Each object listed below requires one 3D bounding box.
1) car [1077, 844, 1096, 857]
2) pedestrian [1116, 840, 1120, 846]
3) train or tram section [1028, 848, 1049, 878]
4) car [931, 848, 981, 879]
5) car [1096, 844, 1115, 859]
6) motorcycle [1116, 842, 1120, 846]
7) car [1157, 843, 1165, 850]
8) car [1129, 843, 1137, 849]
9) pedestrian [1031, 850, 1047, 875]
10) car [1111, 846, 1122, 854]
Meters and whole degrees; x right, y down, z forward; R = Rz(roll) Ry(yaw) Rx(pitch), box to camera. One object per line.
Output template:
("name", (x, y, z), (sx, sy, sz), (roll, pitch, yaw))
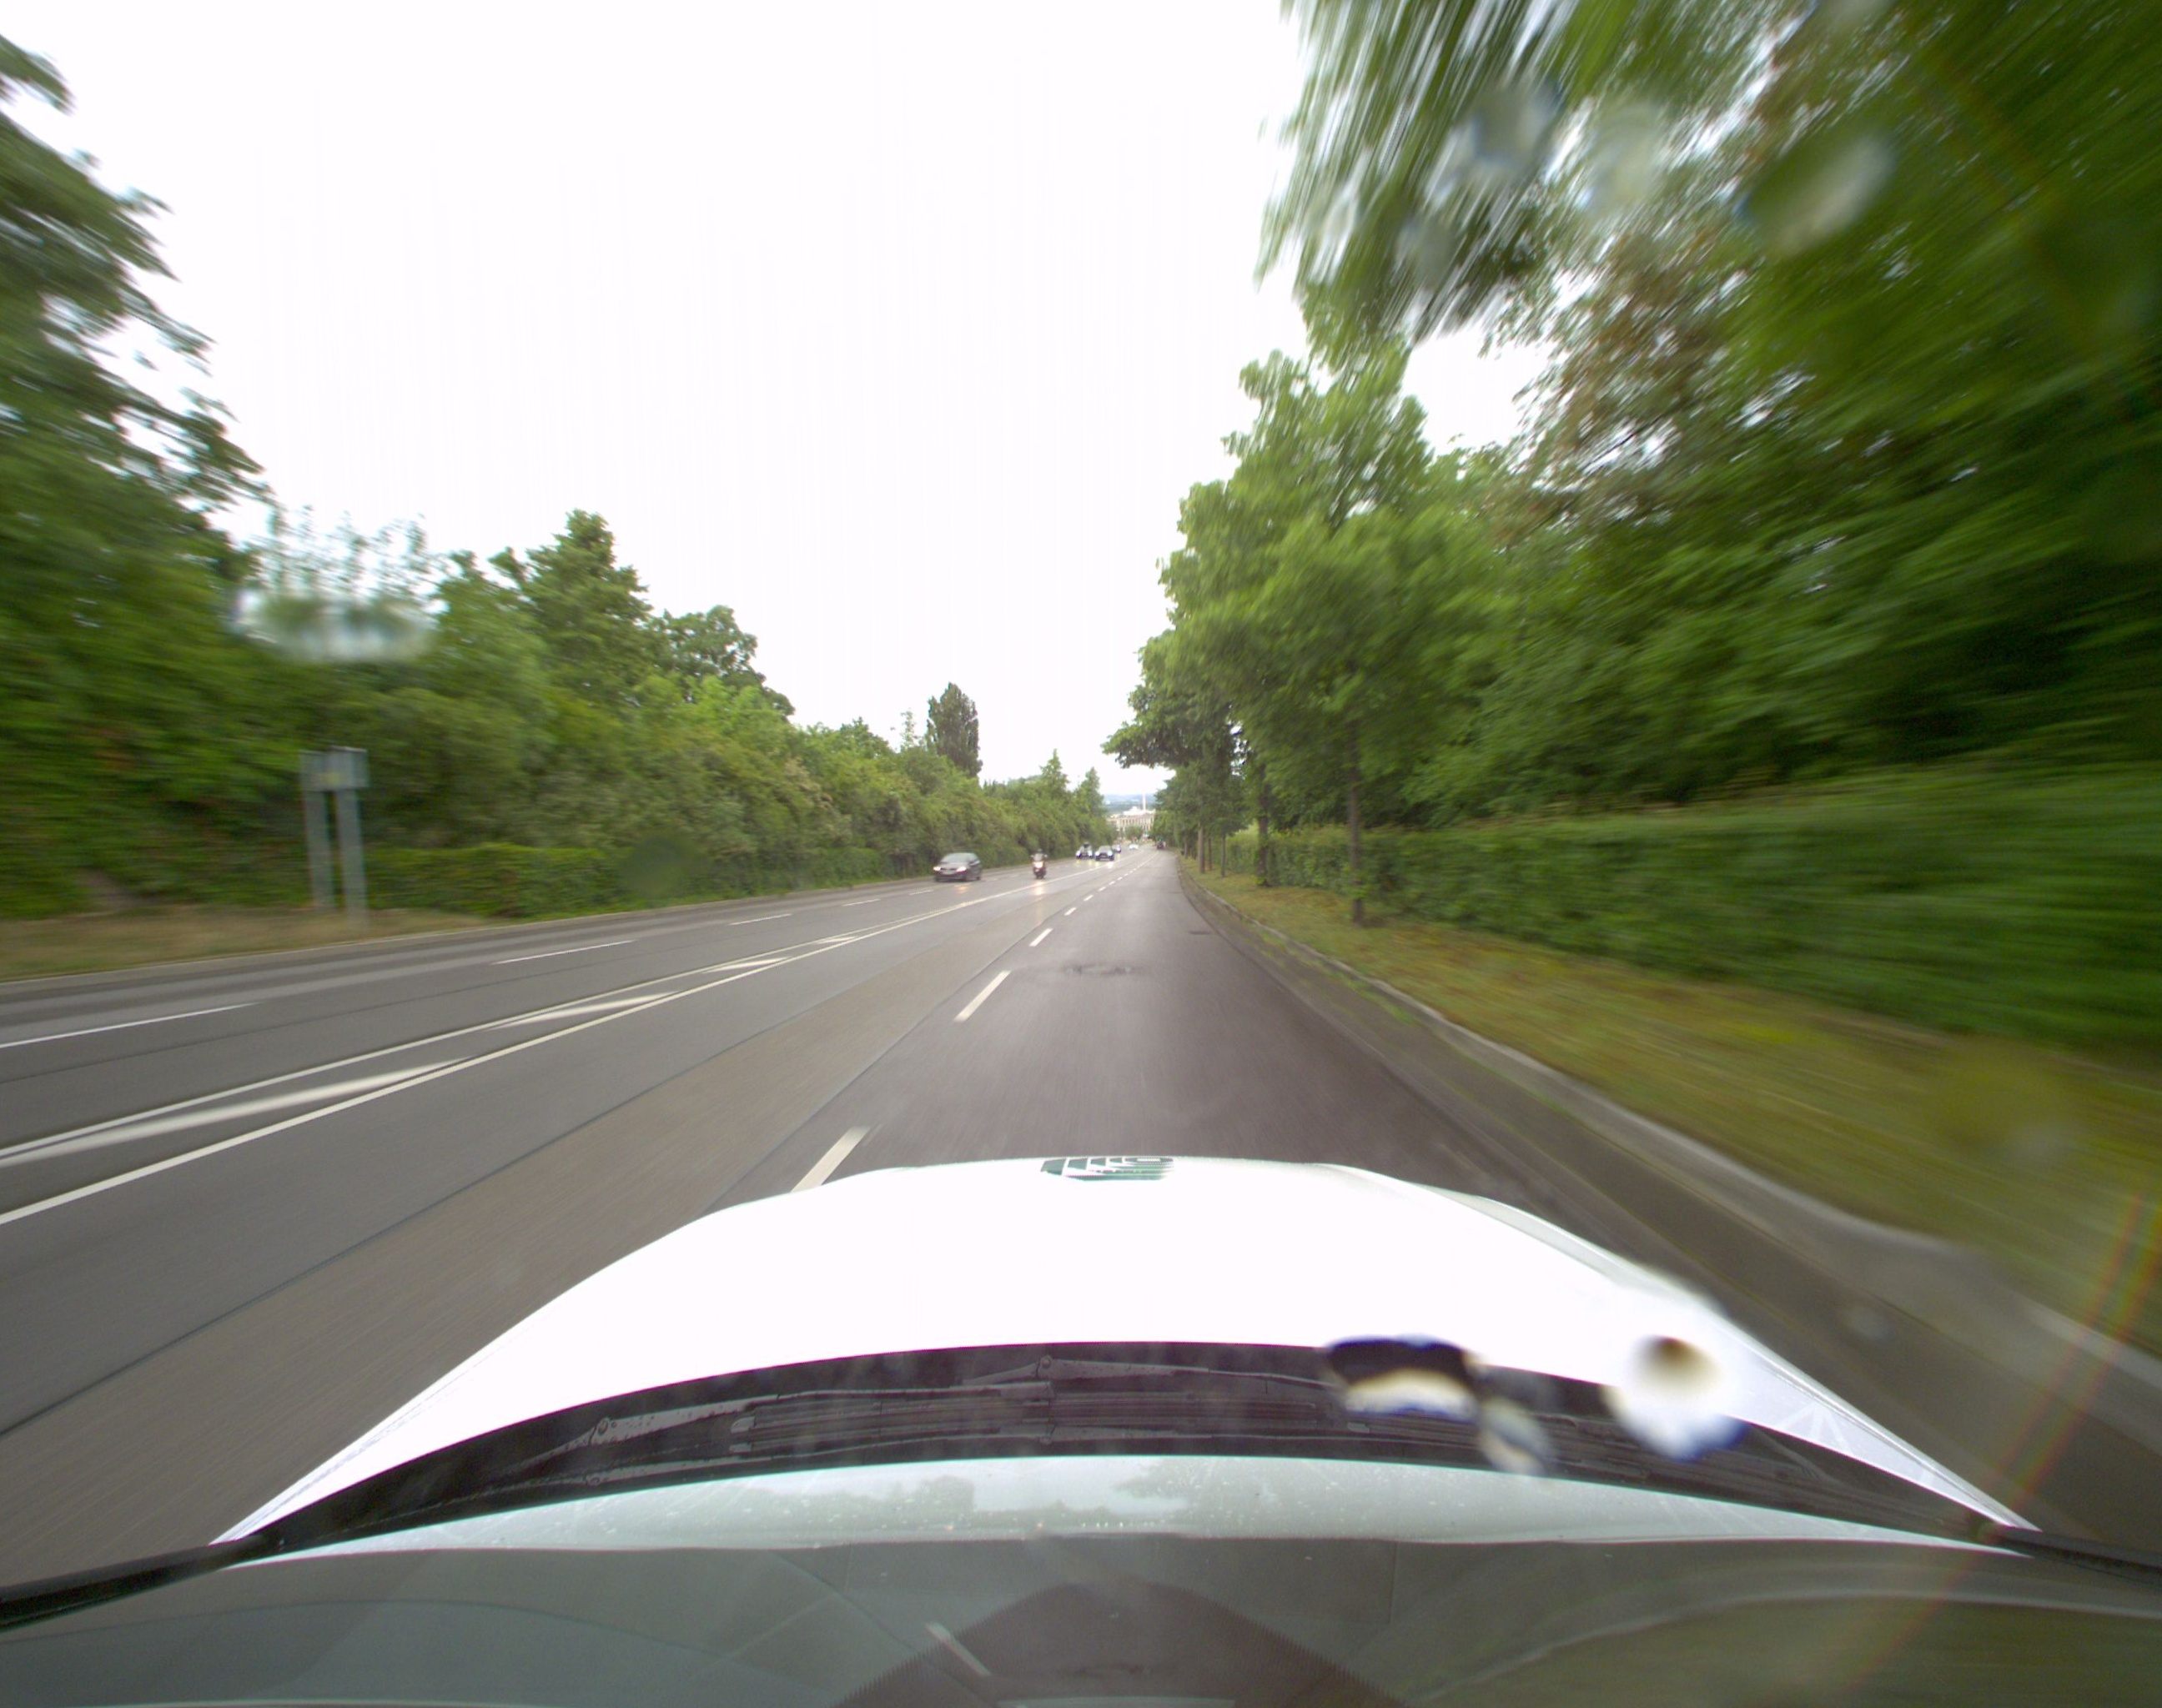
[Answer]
("car", (0.694, -0.443, 101.941), (1.889, 1.552, 4.639), (1, 0, 7))
("pedestrian", (10.488, -3.117, 230.831), (0.801, 1.541, 1.113), (0, 0, 6))
("train or tram section", (-2.329, 0.478, 45.170), (0.787, 1.570, 2.387), (1, 0, 5))
("car", (-6.157, 0.442, 40.536), (1.541, 1.437, 3.702), (-1, 0, 6))
("car", (2.849, -0.335, 94.026), (1.803, 1.657, 4.603), (0, 0, 6))
("motorcycle", (10.490, -2.771, 230.906), (0.801, 1.131, 2.235), (0, 1, 7))
("car", (20.128, -1.839, 204.373), (1.839, 1.702, 3.800), (1, 0, 7))
("car", (12.830, -1.987, 202.289), (1.706, 1.505, 4.525), (1, 1, 7))
("pedestrian", (-2.327, 0.478, 45.173), (0.787, 1.383, 0.976), (1, 0, 5))
("car", (6.457, -0.700, 148.656), (1.750, 1.381, 4.847), (1, 1, 6))
